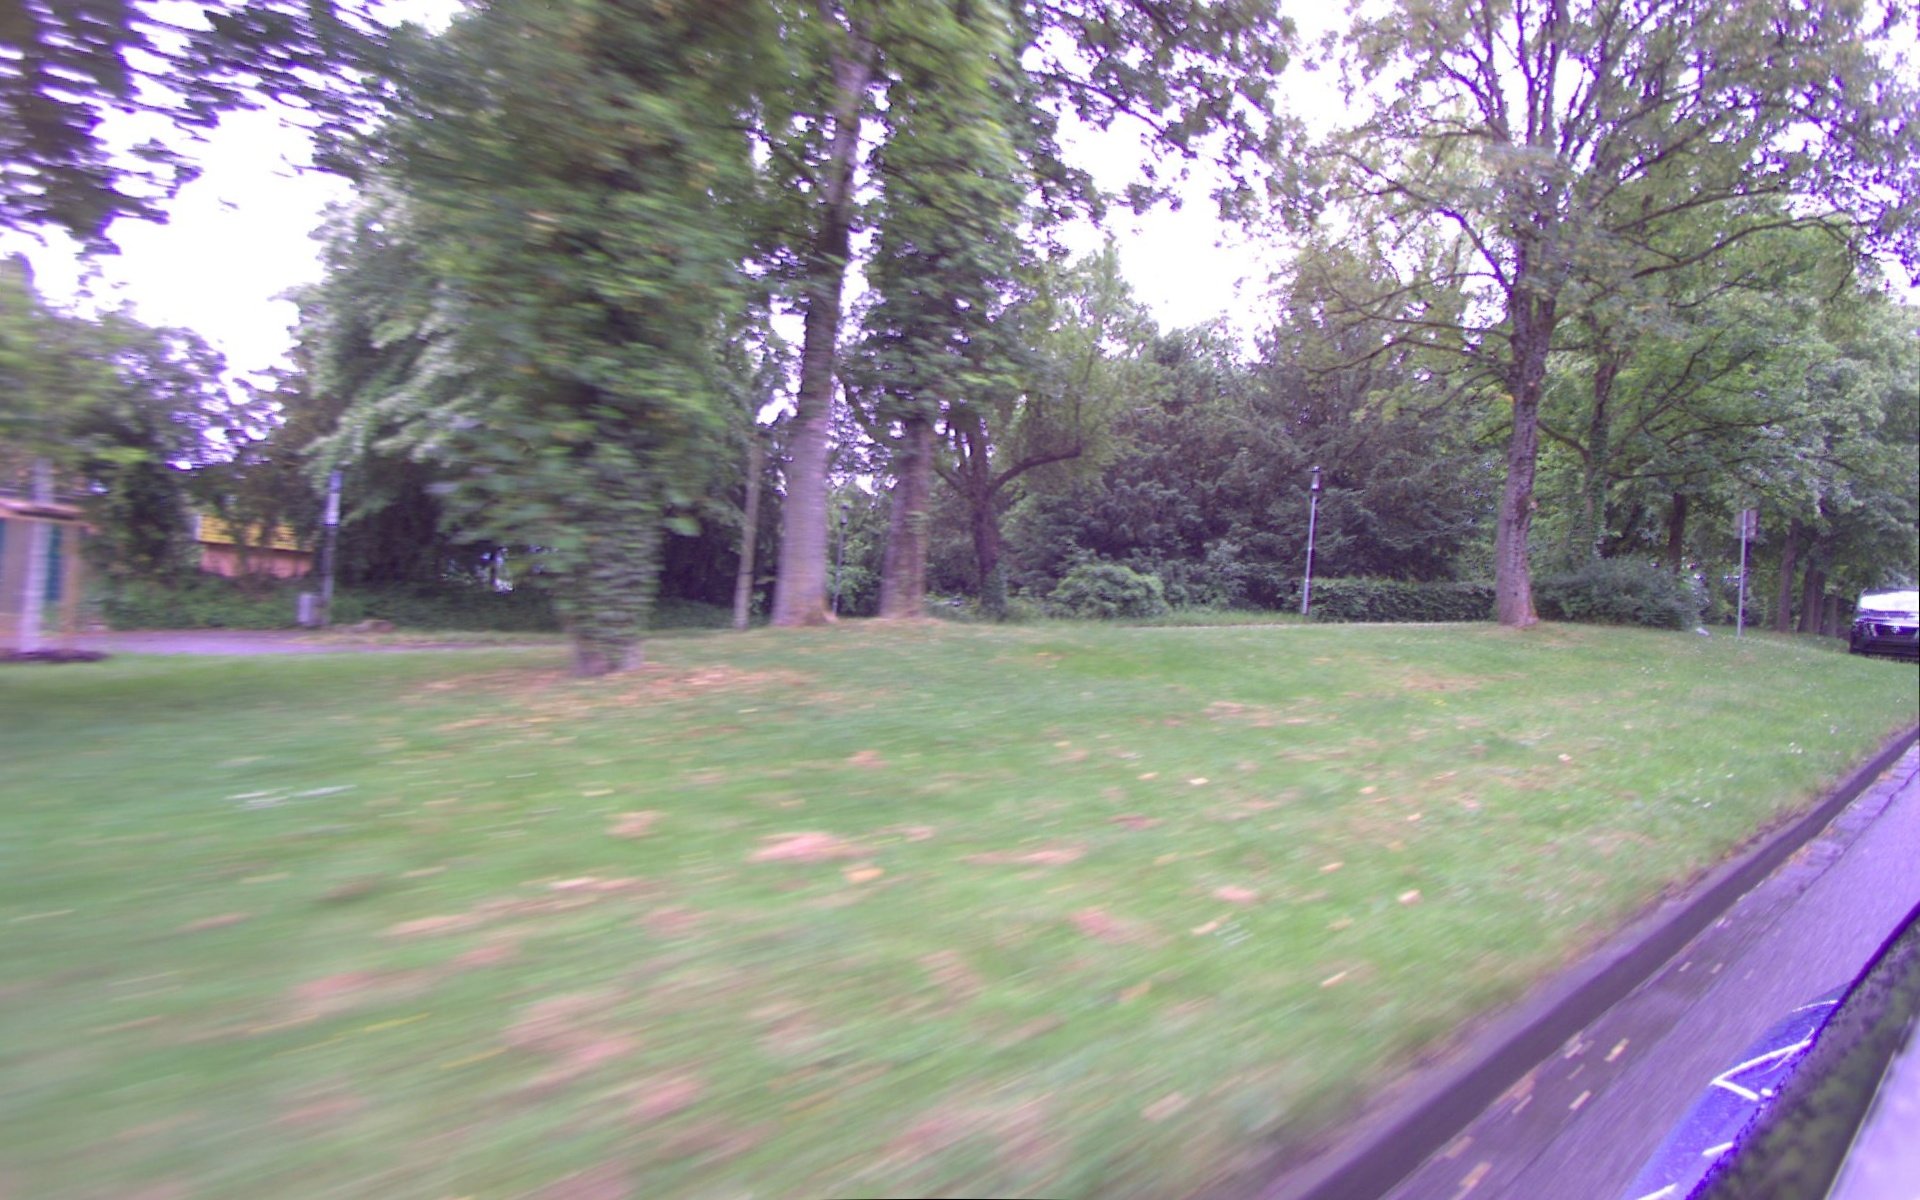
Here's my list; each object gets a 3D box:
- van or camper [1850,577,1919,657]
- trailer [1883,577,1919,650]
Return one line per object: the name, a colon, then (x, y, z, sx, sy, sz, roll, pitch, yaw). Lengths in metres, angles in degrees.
van or camper: (25.421, 0.469, 26.867, 5.567, 1.891, 1.997, 1, 2, -42)
trailer: (28.880, 0.428, 30.090, 3.883, 2.079, 1.699, 1, 2, -42)
